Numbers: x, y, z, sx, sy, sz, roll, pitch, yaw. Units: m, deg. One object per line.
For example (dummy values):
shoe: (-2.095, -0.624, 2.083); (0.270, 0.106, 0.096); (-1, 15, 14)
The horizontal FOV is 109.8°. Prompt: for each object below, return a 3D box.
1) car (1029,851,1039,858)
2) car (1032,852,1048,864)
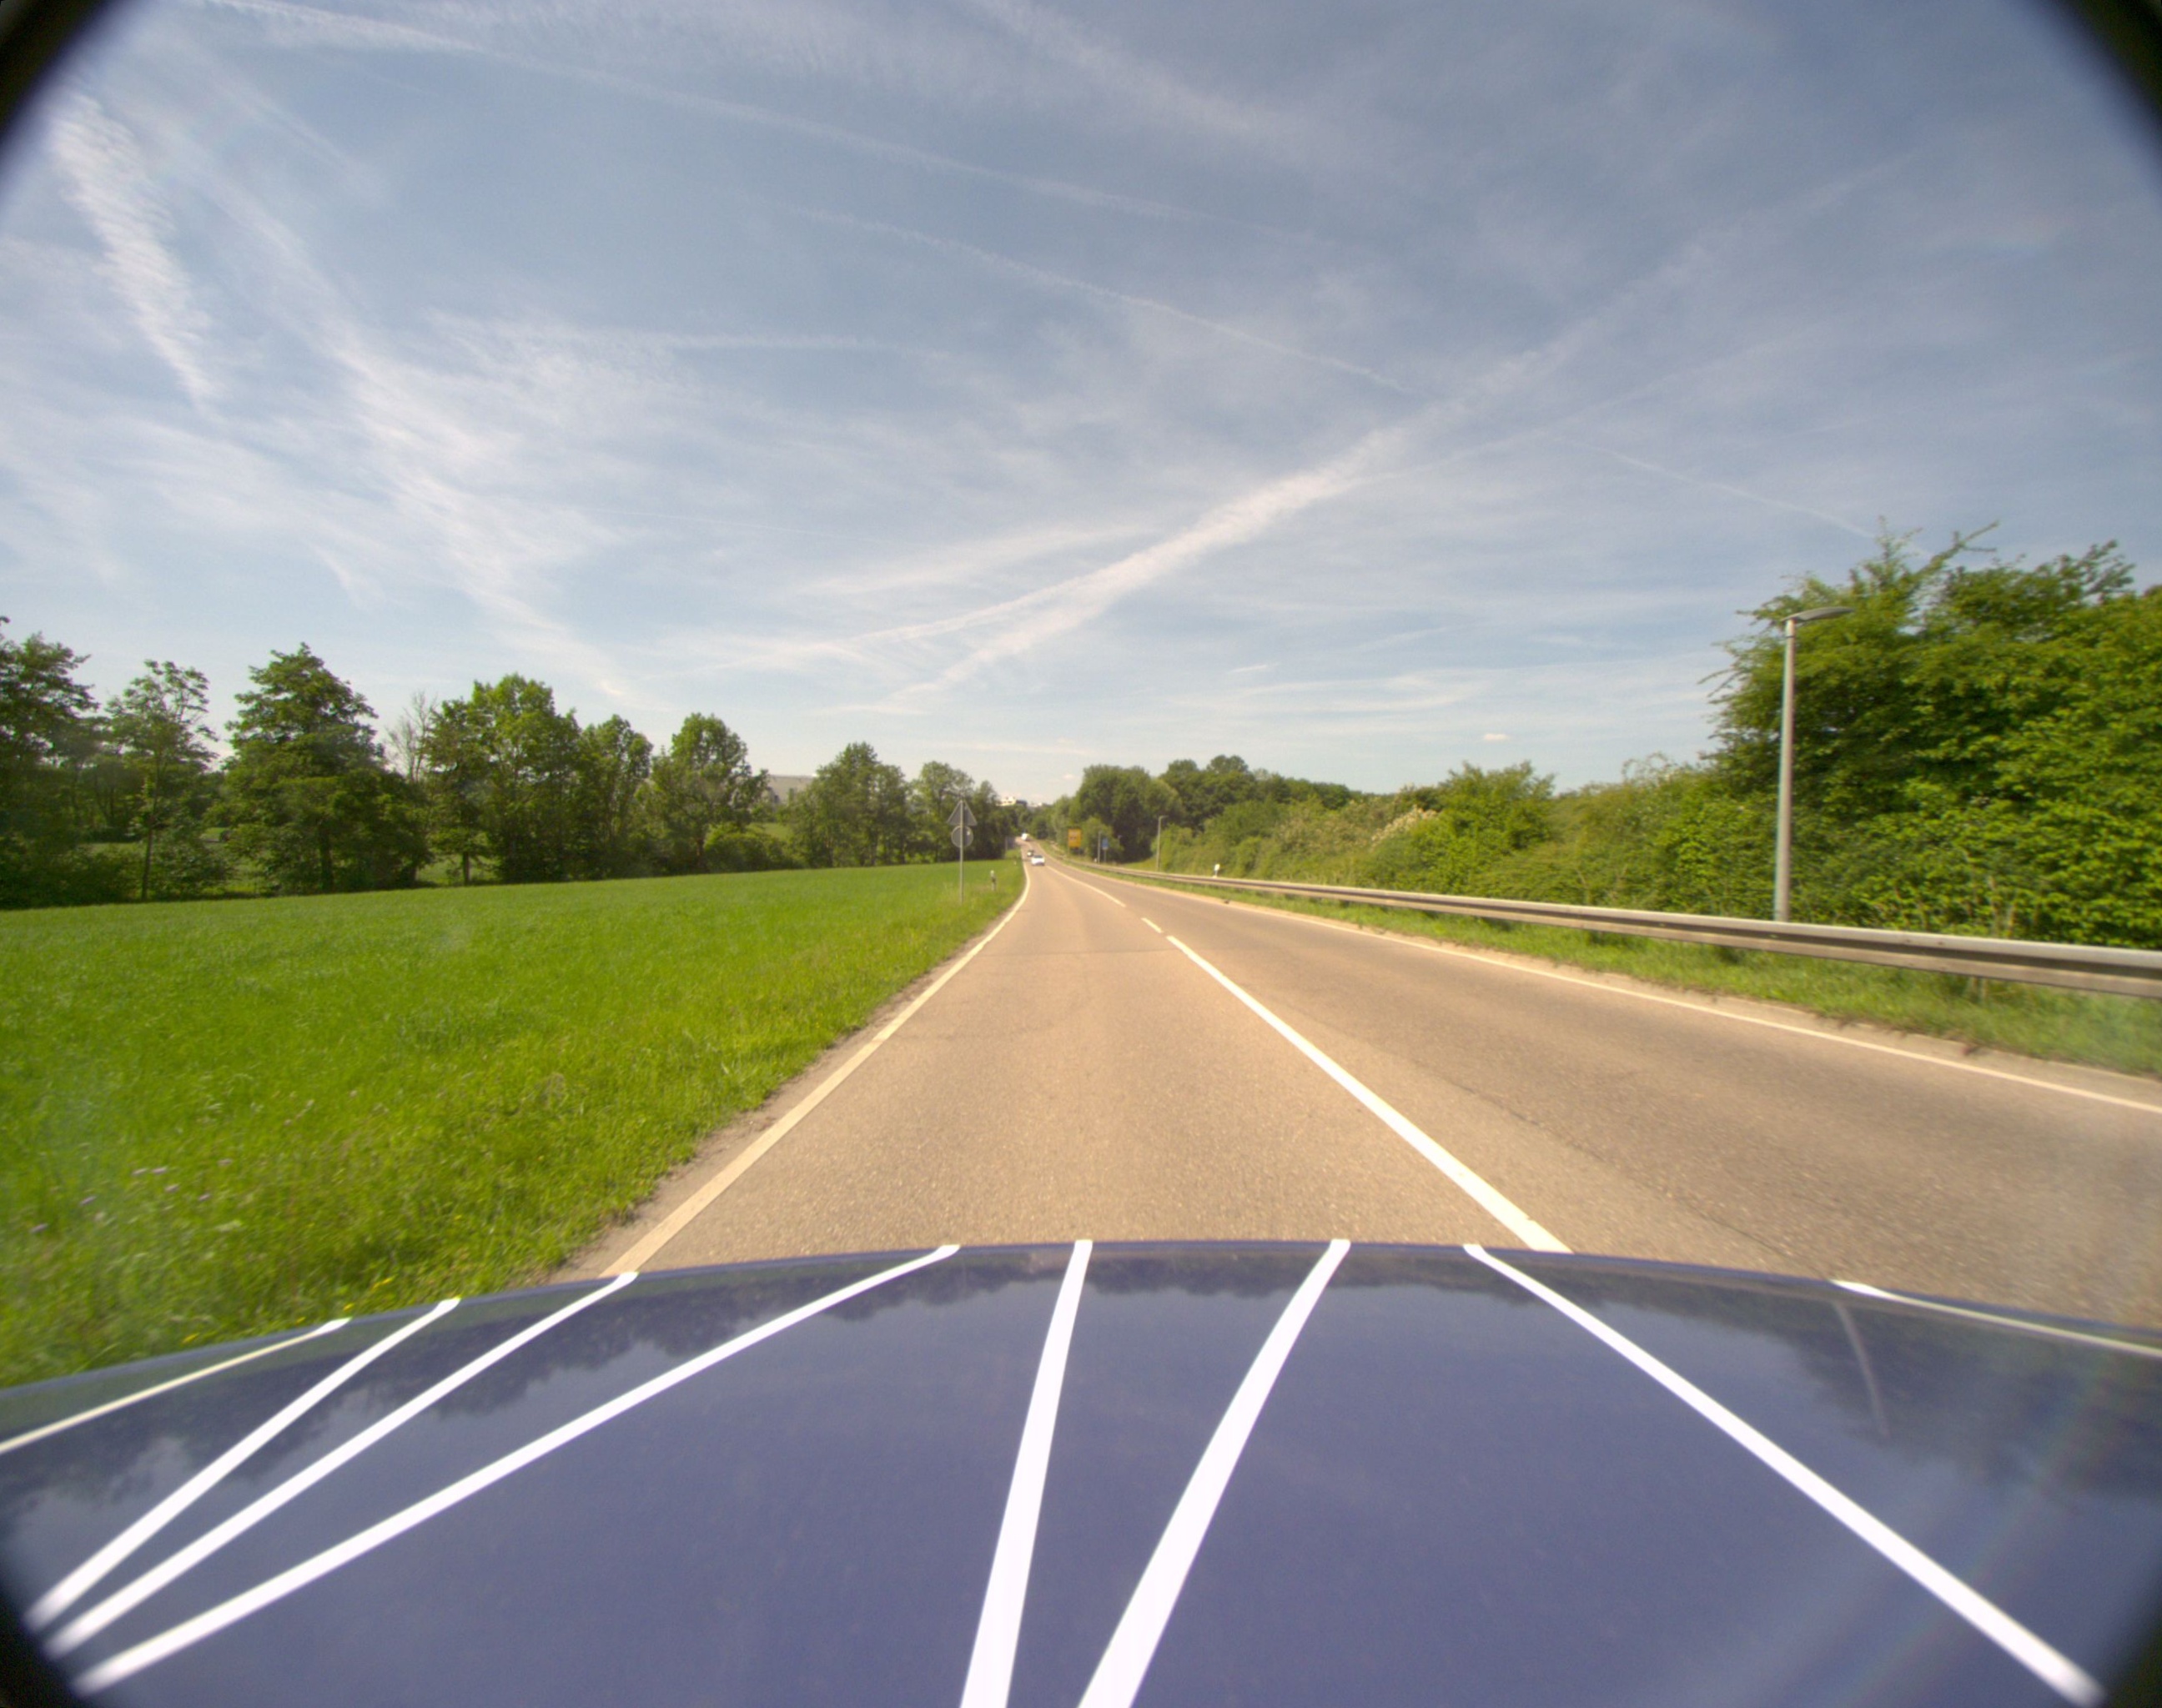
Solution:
car: (-10.318, 0.108, 167.617); (1.999, 1.575, 3.998); (-1, 0, -6)
car: (-5.817, 0.533, 108.345); (1.999, 1.575, 4.000); (-1, 0, 0)
